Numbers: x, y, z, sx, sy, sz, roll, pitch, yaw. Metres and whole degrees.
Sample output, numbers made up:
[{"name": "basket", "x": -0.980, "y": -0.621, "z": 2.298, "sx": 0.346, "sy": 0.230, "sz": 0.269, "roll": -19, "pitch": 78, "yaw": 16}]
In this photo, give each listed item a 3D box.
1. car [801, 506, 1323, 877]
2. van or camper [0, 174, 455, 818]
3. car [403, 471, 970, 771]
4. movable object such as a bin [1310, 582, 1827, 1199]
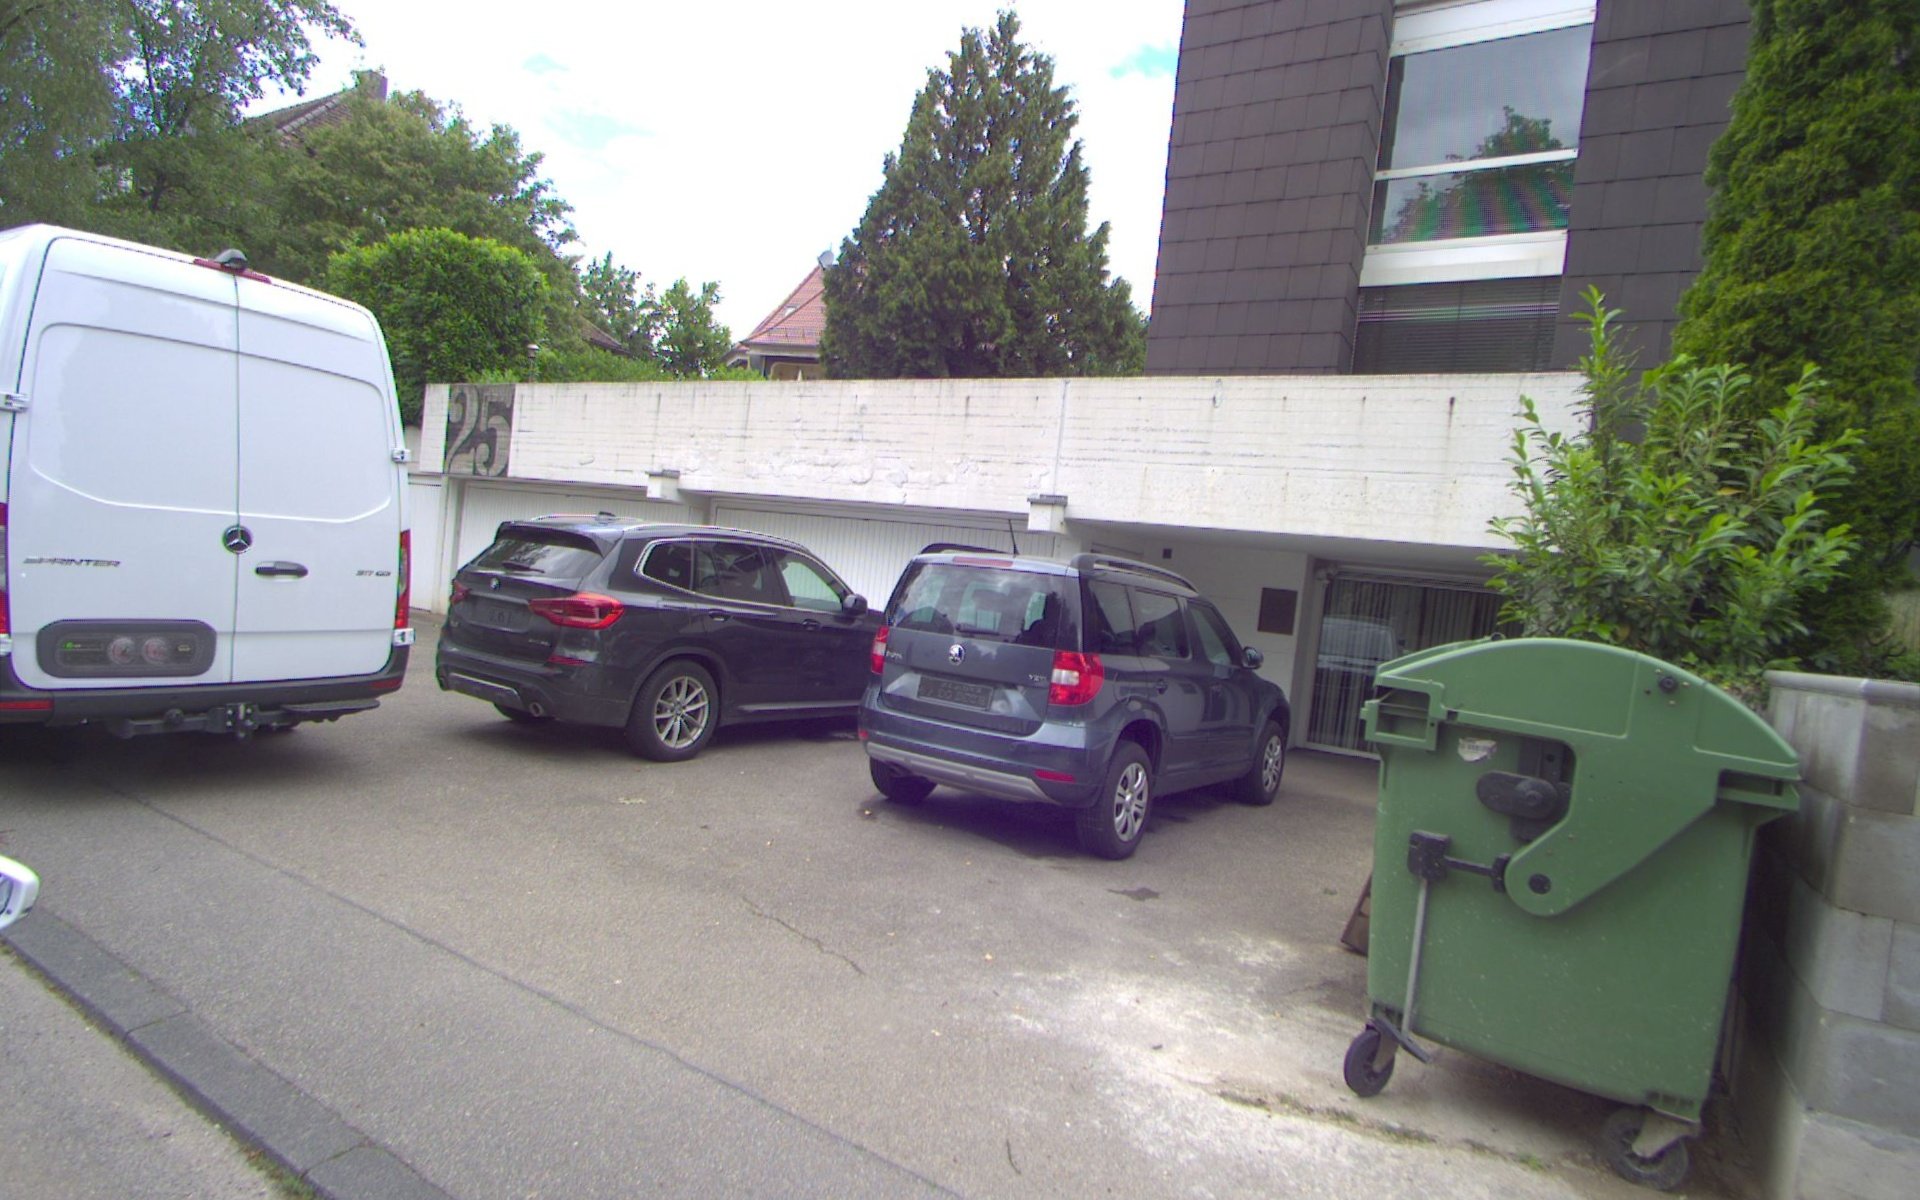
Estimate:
[{"name": "car", "x": 0.996, "y": 0.530, "z": 7.104, "sx": 1.804, "sy": 1.772, "sz": 3.973, "roll": 7, "pitch": 1, "yaw": 35}, {"name": "van or camper", "x": -6.242, "y": -0.663, "z": 6.609, "sx": 6.432, "sy": 2.653, "sz": 1.995, "roll": 7, "pitch": 1, "yaw": 32}, {"name": "car", "x": -1.899, "y": 0.201, "z": 8.385, "sx": 1.710, "sy": 1.772, "sz": 4.419, "roll": 7, "pitch": 1, "yaw": 33}, {"name": "movable object such as a bin", "x": 1.814, "y": 0.798, "z": 3.097, "sx": 1.016, "sy": 1.550, "sz": 1.034, "roll": 7, "pitch": 1, "yaw": 33}]
